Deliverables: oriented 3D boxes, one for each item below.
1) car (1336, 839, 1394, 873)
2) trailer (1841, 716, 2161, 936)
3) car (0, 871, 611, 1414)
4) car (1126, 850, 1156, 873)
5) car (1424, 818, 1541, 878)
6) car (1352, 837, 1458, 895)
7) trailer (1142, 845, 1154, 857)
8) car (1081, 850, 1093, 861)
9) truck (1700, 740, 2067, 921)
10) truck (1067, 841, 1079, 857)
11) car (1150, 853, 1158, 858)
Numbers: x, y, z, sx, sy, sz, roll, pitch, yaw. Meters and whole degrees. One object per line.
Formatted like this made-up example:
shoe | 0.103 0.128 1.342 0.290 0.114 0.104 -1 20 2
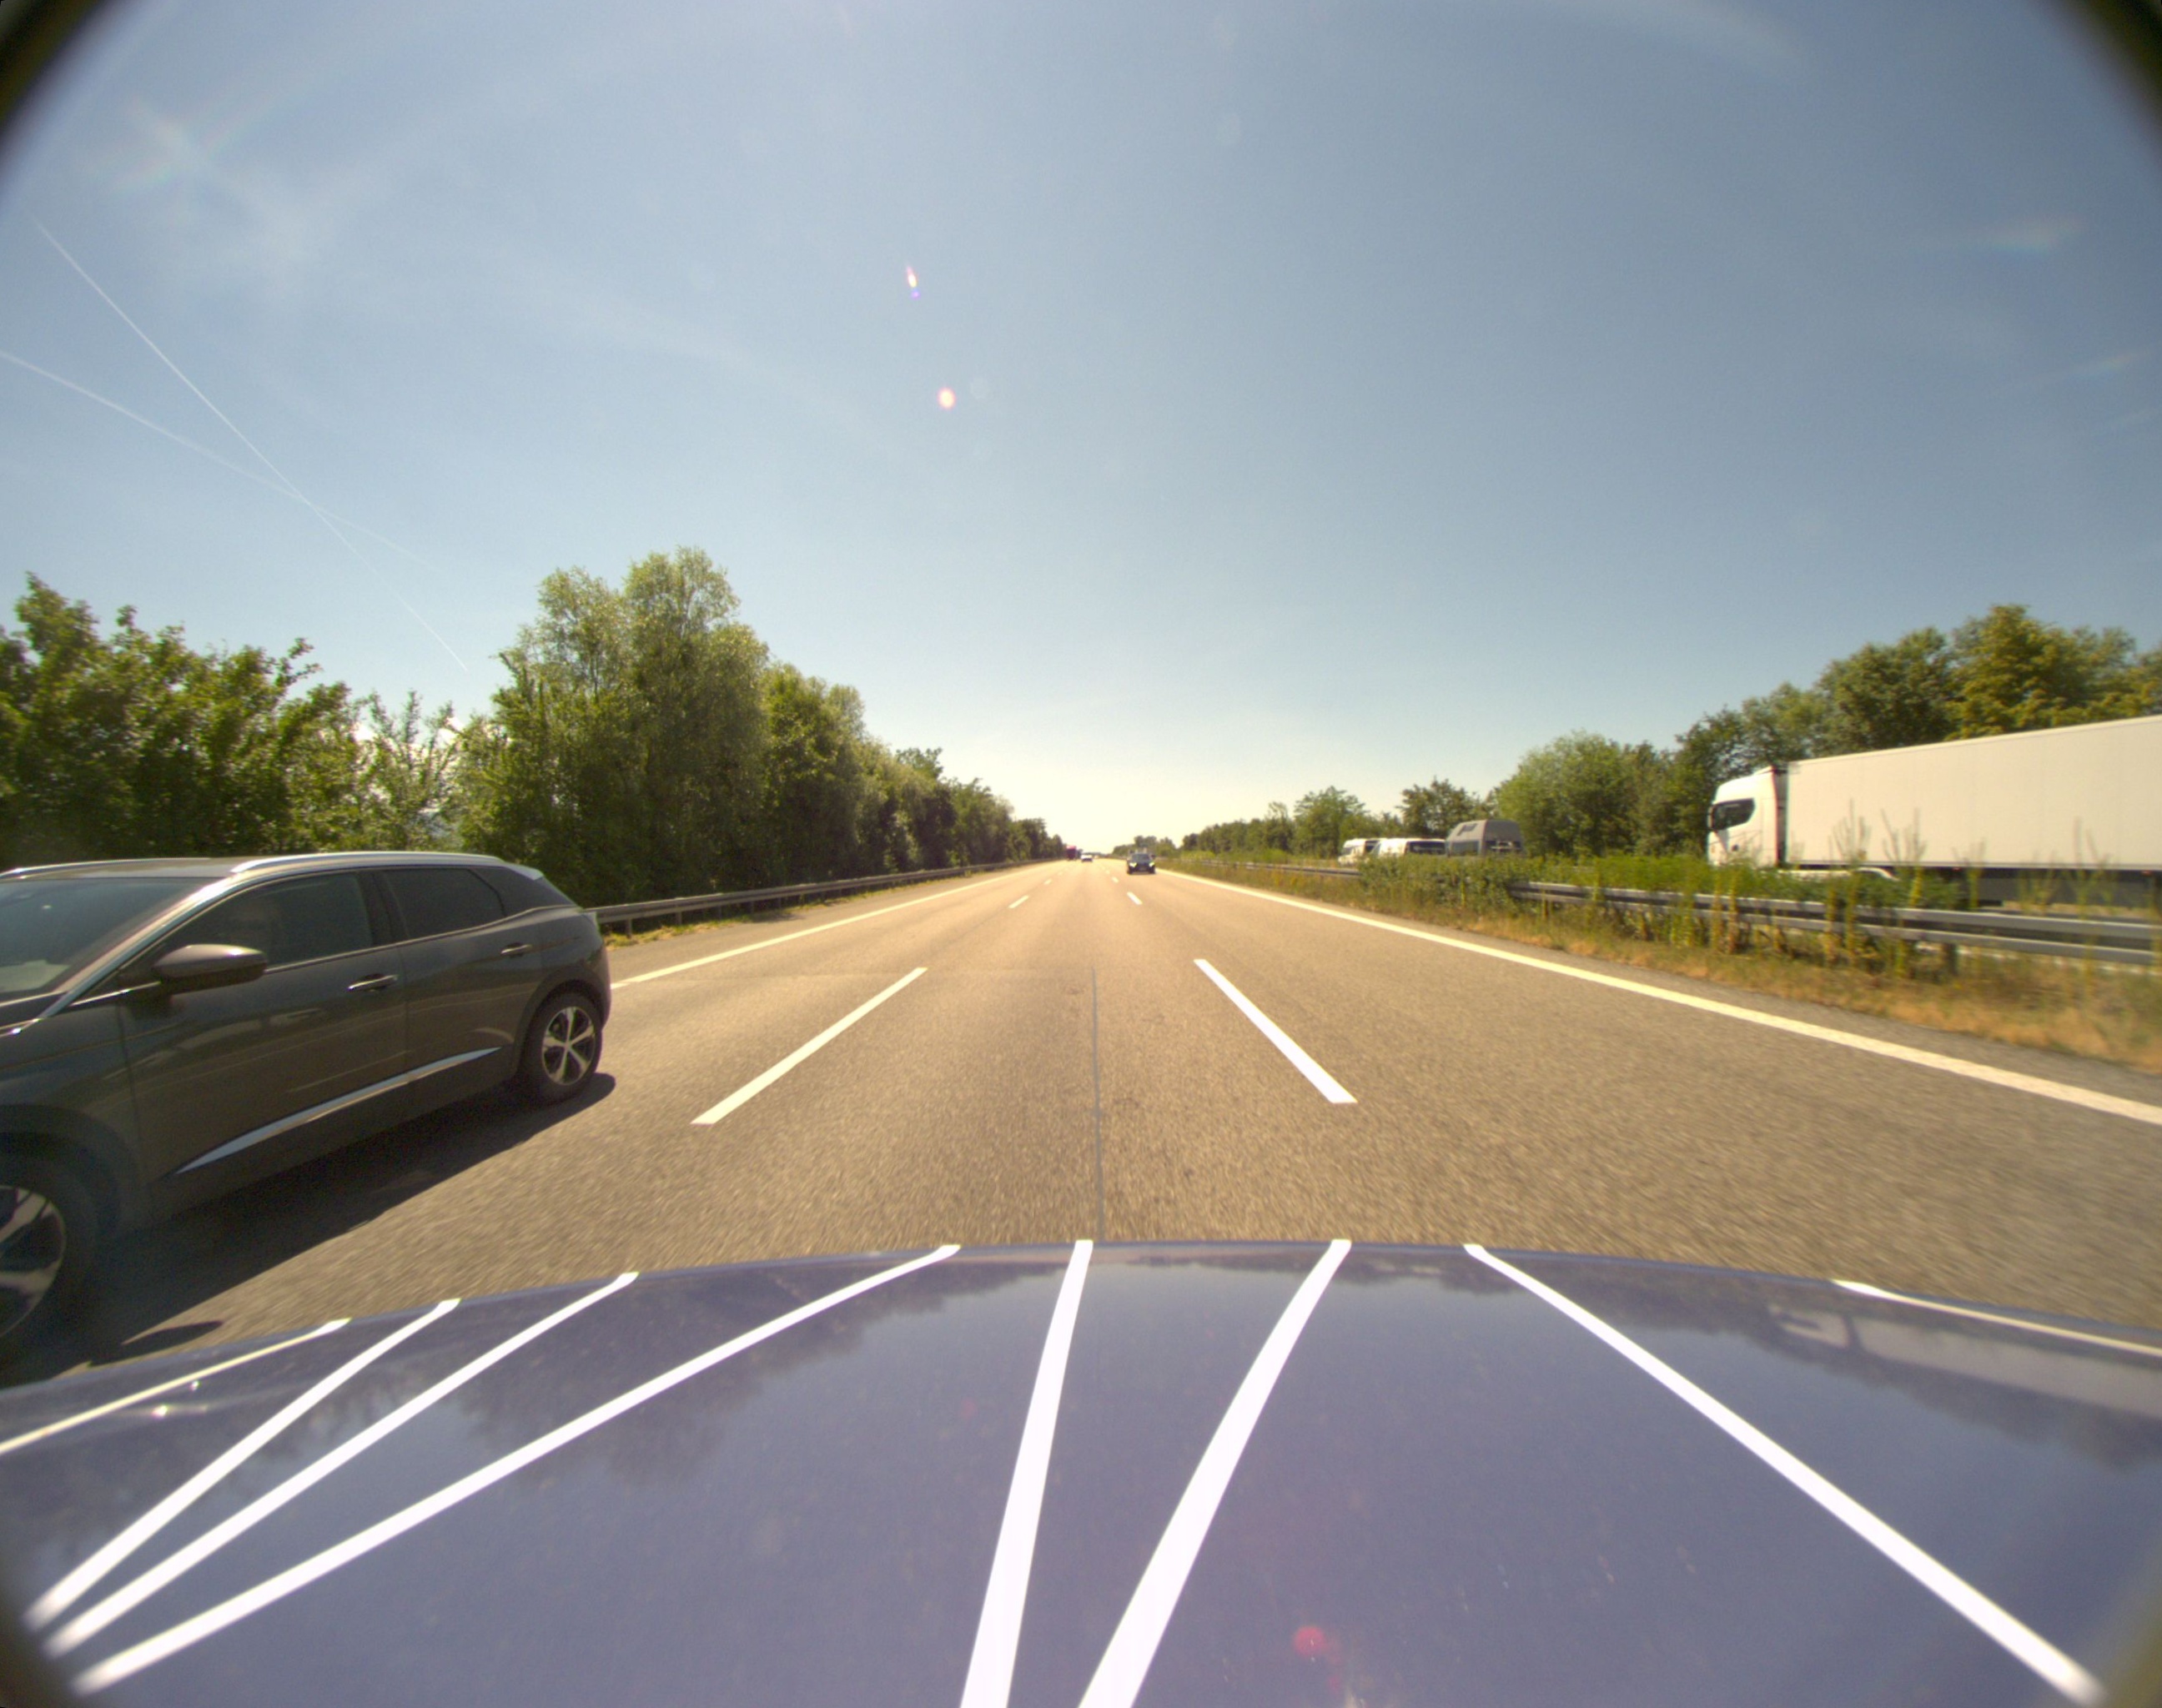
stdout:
car | 21.244 0.143 57.154 2.108 2.449 6.015 -1 0 0
trailer | 21.266 -0.551 13.636 3.055 4.015 12.235 -2 0 1
car | -4.263 0.944 3.235 1.850 1.619 4.135 -1 0 1
car | 4.084 0.510 52.299 1.736 1.433 4.000 -3 0 1
car | 17.231 -0.258 32.986 2.215 2.349 5.297 -1 0 -1
car | 12.883 0.426 30.618 1.930 2.108 5.278 -1 0 -1
trailer | 23.831 -1.098 270.304 3.305 4.161 13.542 0 0 0
car | 1.081 0.280 135.795 1.998 2.001 4.756 -3 0 1
truck | 21.332 -0.519 20.934 3.079 4.087 6.526 -2 0 0
truck | -2.170 -1.219 204.329 2.938 3.933 10.261 -3 0 1
car | 20.076 0.465 209.726 1.867 1.393 4.531 0 0 0
